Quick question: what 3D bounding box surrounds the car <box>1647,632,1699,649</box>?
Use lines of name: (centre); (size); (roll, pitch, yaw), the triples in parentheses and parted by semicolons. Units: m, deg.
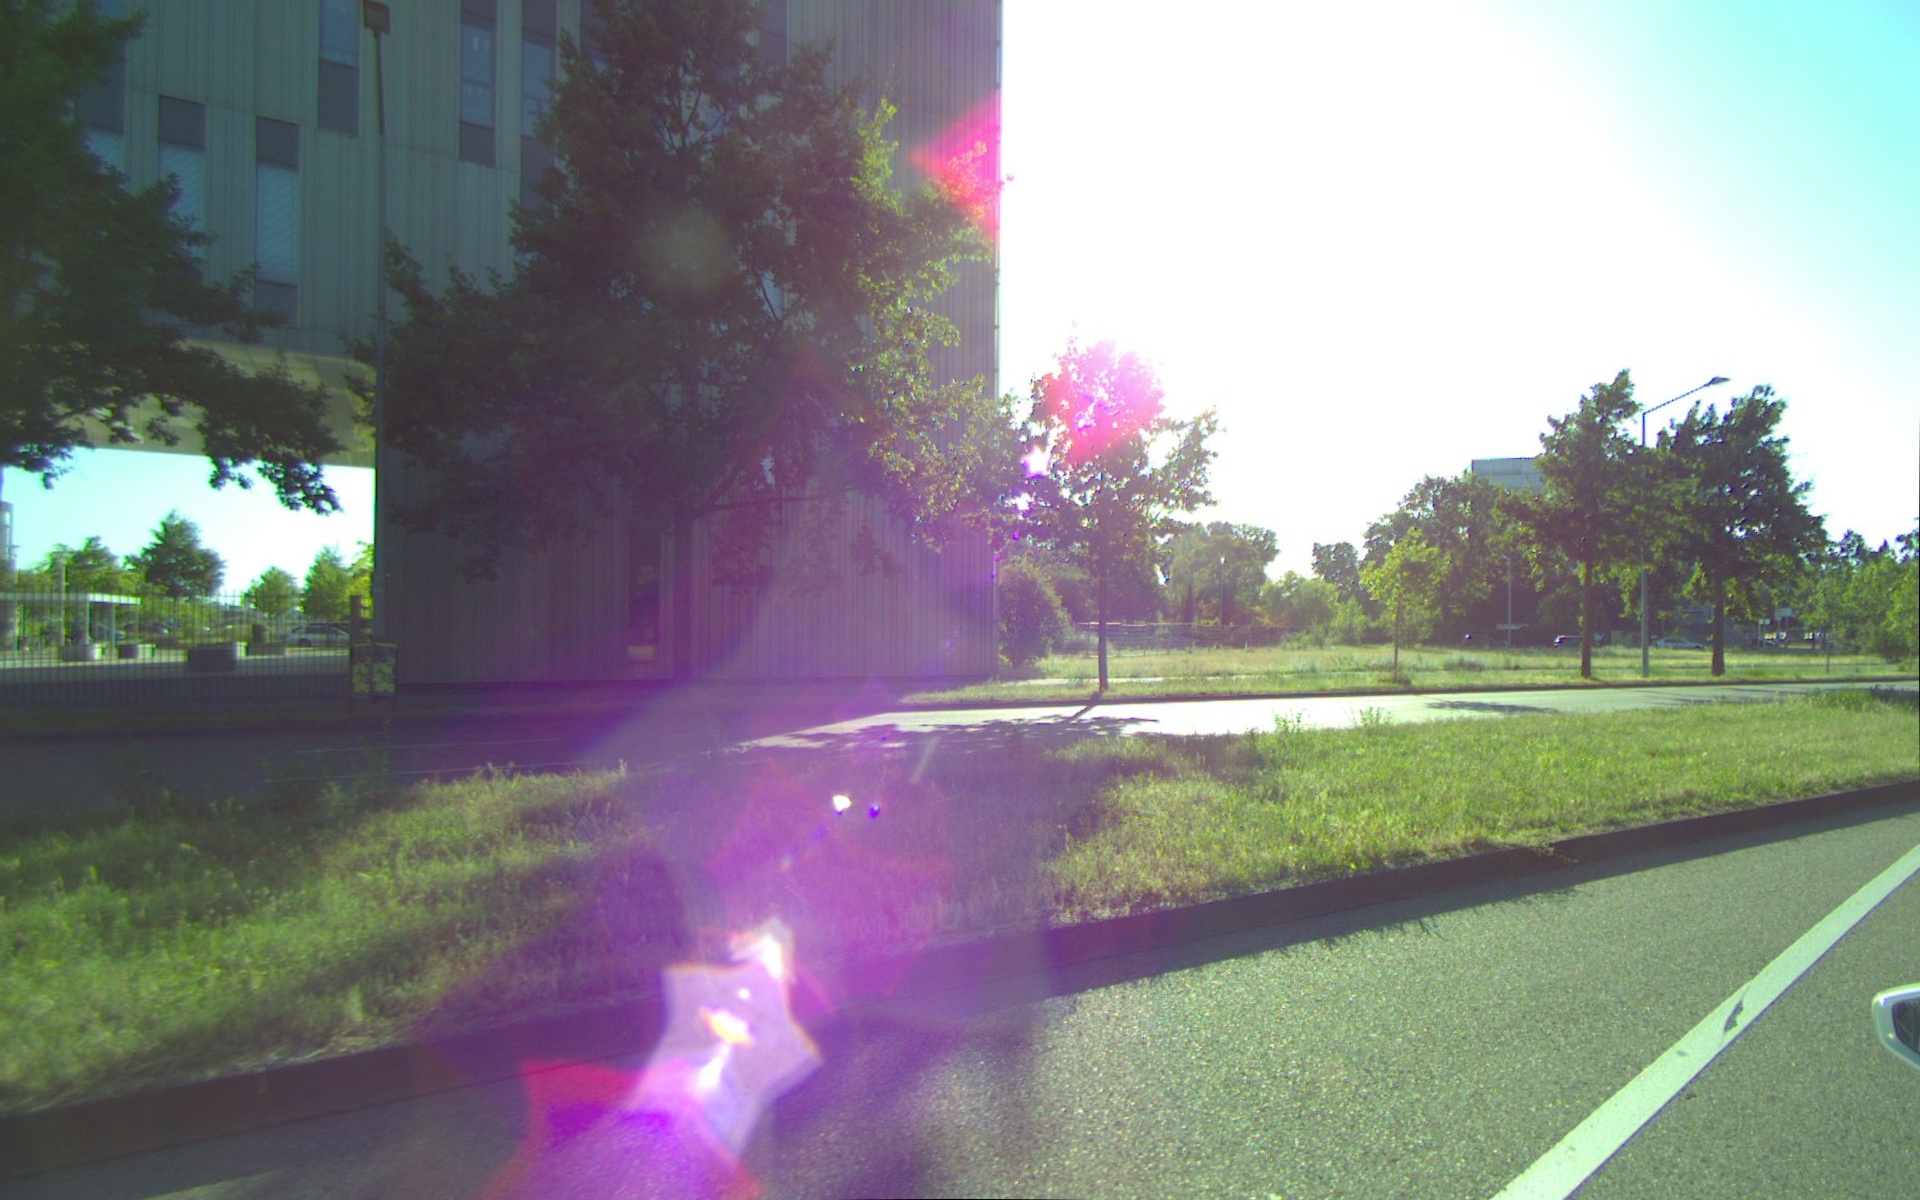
car: (67.843, 3.821, 95.655); (3.635, 1.528, 1.876); (0, -1, 18)

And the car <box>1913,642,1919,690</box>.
car: (33.543, 2.209, 33.685); (3.375, 1.595, 1.554); (2, -2, -33)
